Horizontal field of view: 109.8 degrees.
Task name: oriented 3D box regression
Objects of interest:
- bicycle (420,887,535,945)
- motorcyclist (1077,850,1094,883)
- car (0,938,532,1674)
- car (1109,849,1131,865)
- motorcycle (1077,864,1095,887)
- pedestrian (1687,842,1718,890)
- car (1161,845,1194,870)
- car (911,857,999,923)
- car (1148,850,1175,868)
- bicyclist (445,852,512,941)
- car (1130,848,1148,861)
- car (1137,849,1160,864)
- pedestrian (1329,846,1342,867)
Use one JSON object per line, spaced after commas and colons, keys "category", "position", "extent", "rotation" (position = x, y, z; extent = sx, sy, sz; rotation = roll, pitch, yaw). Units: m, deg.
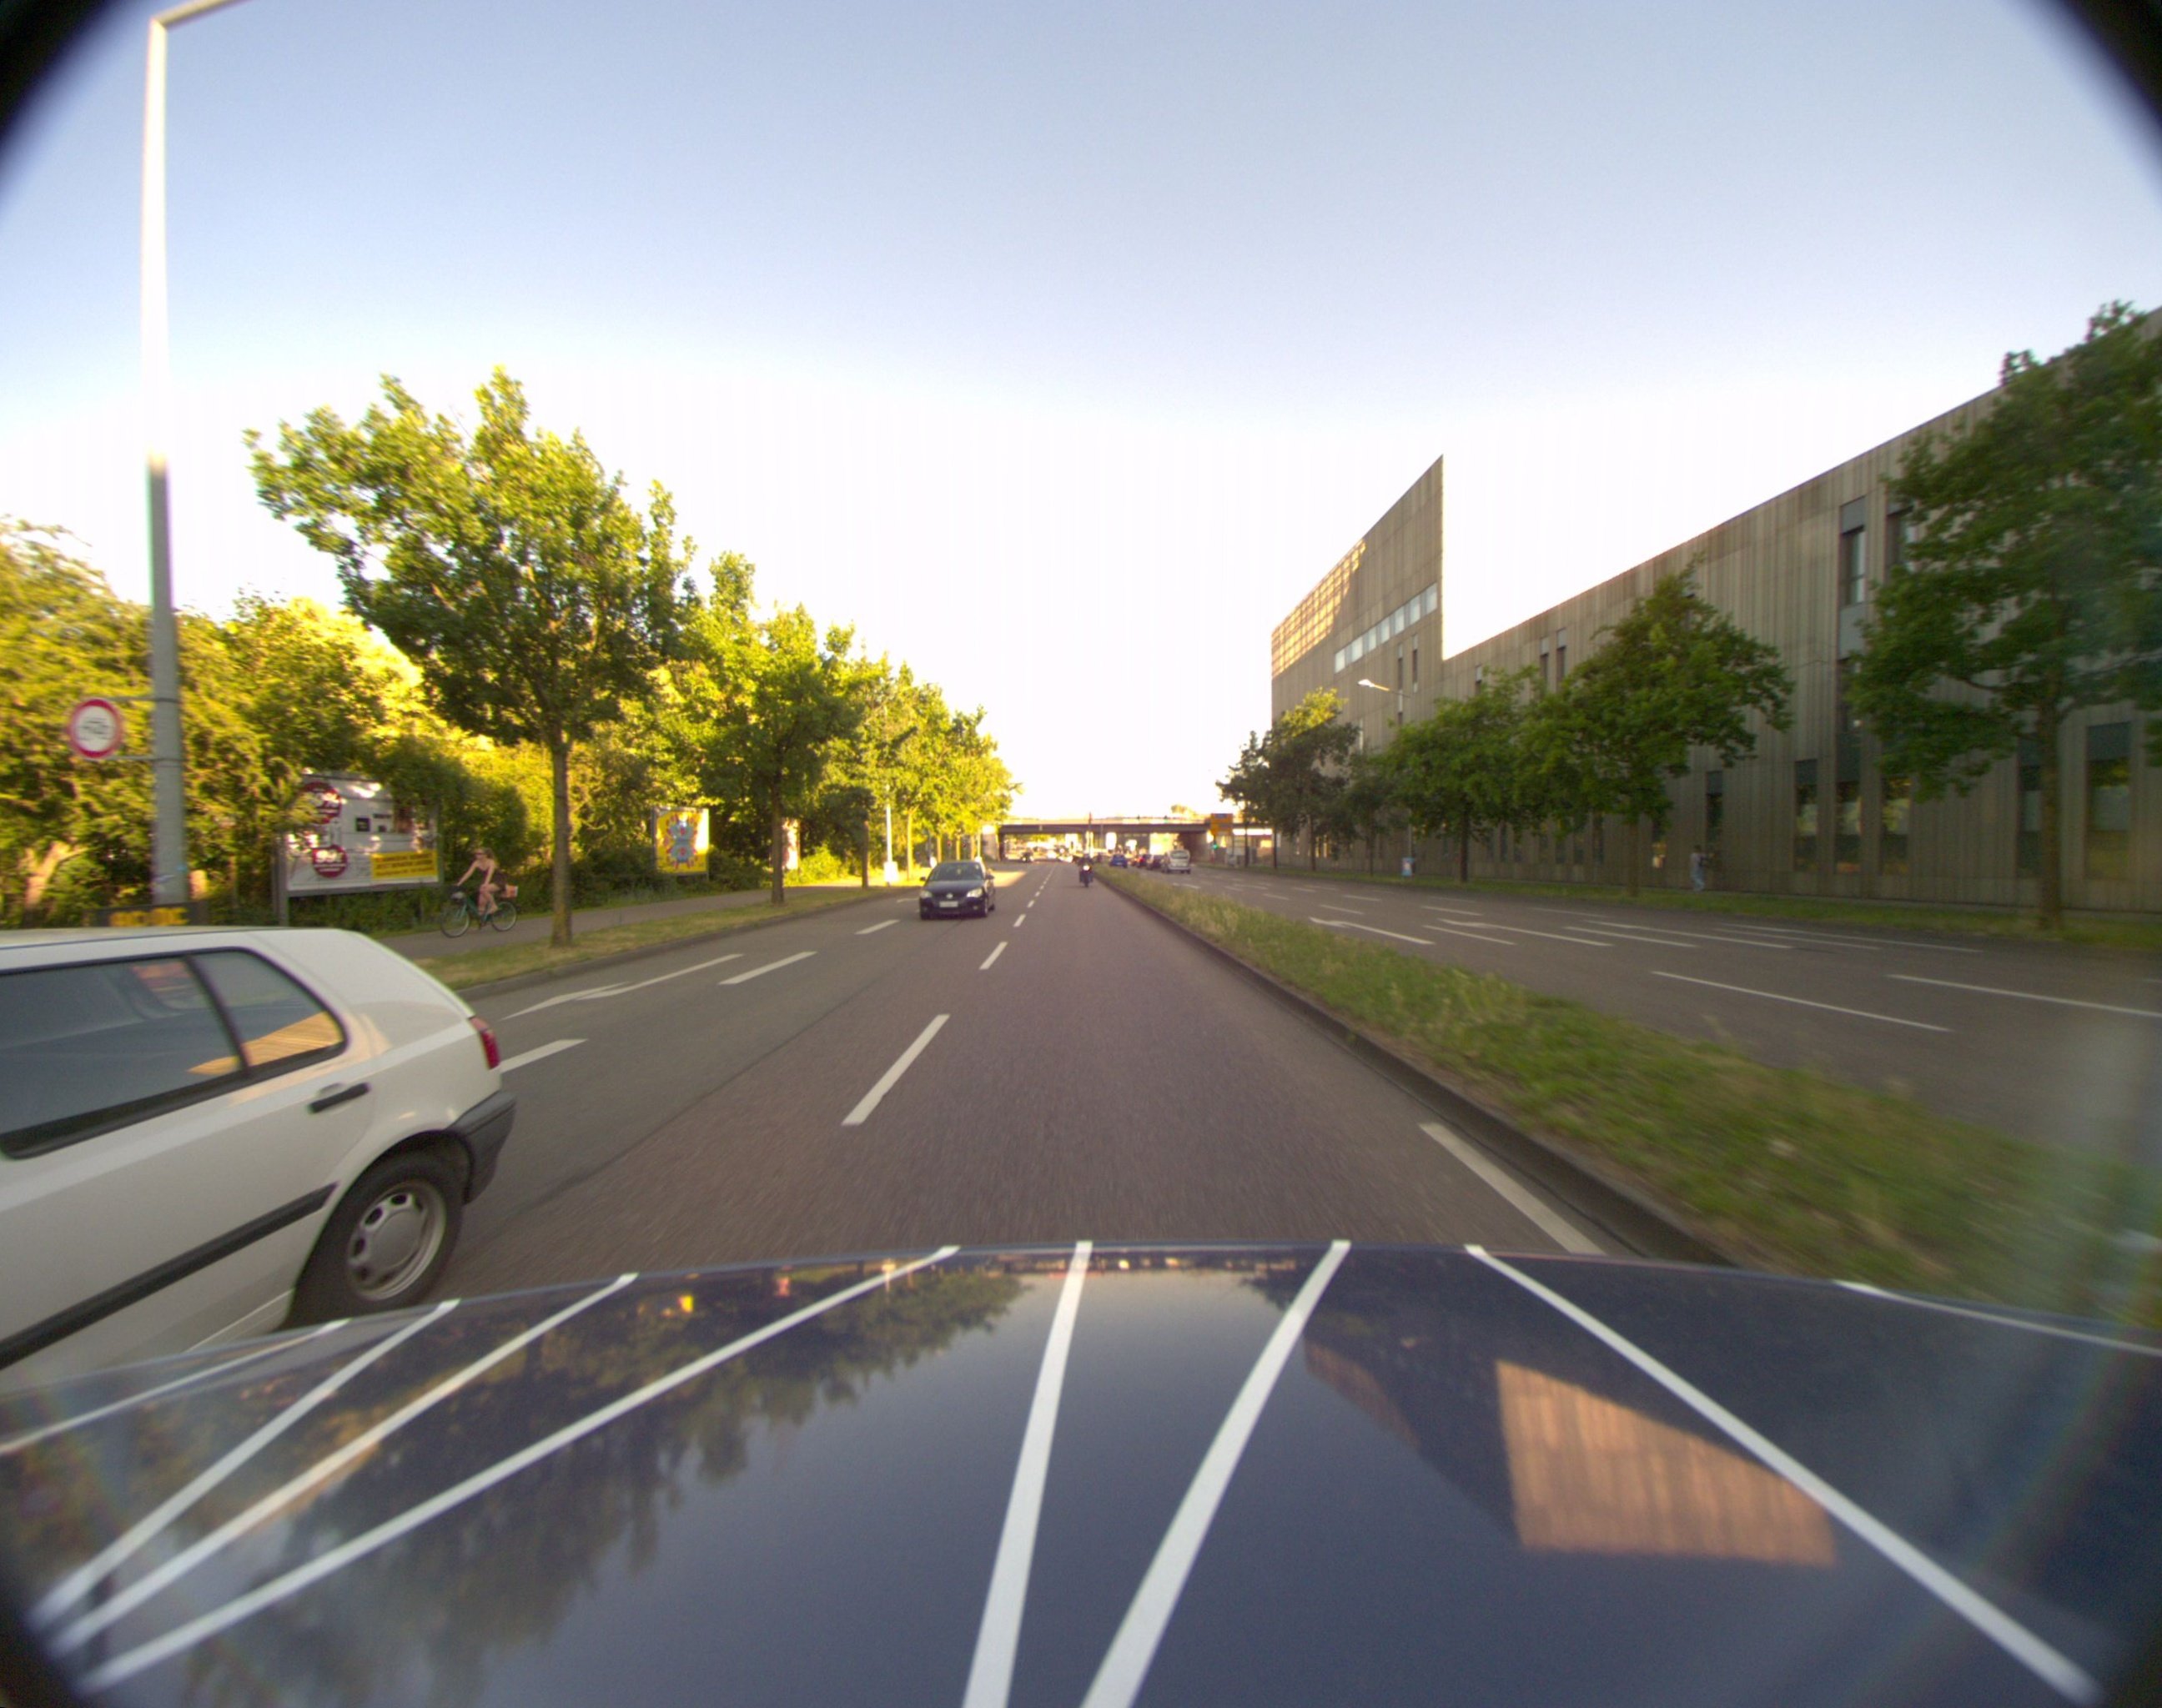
{"category": "bicycle", "position": [-11.987, 1.192, 15.188], "extent": [0.618, 0.968, 2.058], "rotation": [-1, 1, 1]}
{"category": "motorcyclist", "position": [0.207, 0.570, 34.979], "extent": [0.734, 1.503, 0.918], "rotation": [0, 1, -3]}
{"category": "car", "position": [-3.116, 1.079, 1.205], "extent": [1.615, 1.390, 4.037], "rotation": [-3, 0, -2]}
{"category": "car", "position": [3.827, 0.273, 75.892], "extent": [1.841, 1.510, 3.951], "rotation": [0, 1, -2]}
{"category": "motorcycle", "position": [0.214, 0.958, 34.771], "extent": [0.749, 0.977, 2.139], "rotation": [0, 1, -2]}
{"category": "pedestrian", "position": [22.916, 0.437, 28.026], "extent": [0.604, 1.757, 0.649], "rotation": [-1, 1, 0]}
{"category": "car", "position": [7.313, 0.236, 57.870], "extent": [1.998, 1.805, 4.400], "rotation": [0, 1, 0]}
{"category": "car", "position": [-3.186, 0.874, 19.942], "extent": [1.726, 1.490, 4.213], "rotation": [-2, -1, -2]}
{"category": "car", "position": [7.007, 0.388, 66.450], "extent": [1.930, 1.510, 4.289], "rotation": [0, 1, 0]}
{"category": "bicyclist", "position": [-12.001, 0.829, 15.165], "extent": [0.605, 1.723, 0.848], "rotation": [-1, 1, 0]}
{"category": "car", "position": [6.718, 0.065, 87.662], "extent": [1.696, 1.425, 3.771], "rotation": [0, 1, -1]}
{"category": "car", "position": [6.793, 0.224, 76.587], "extent": [1.930, 1.510, 3.999], "rotation": [0, 1, -1]}
{"category": "pedestrian", "position": [19.926, 0.192, 59.501], "extent": [0.698, 1.619, 0.725], "rotation": [0, 1, -1]}
